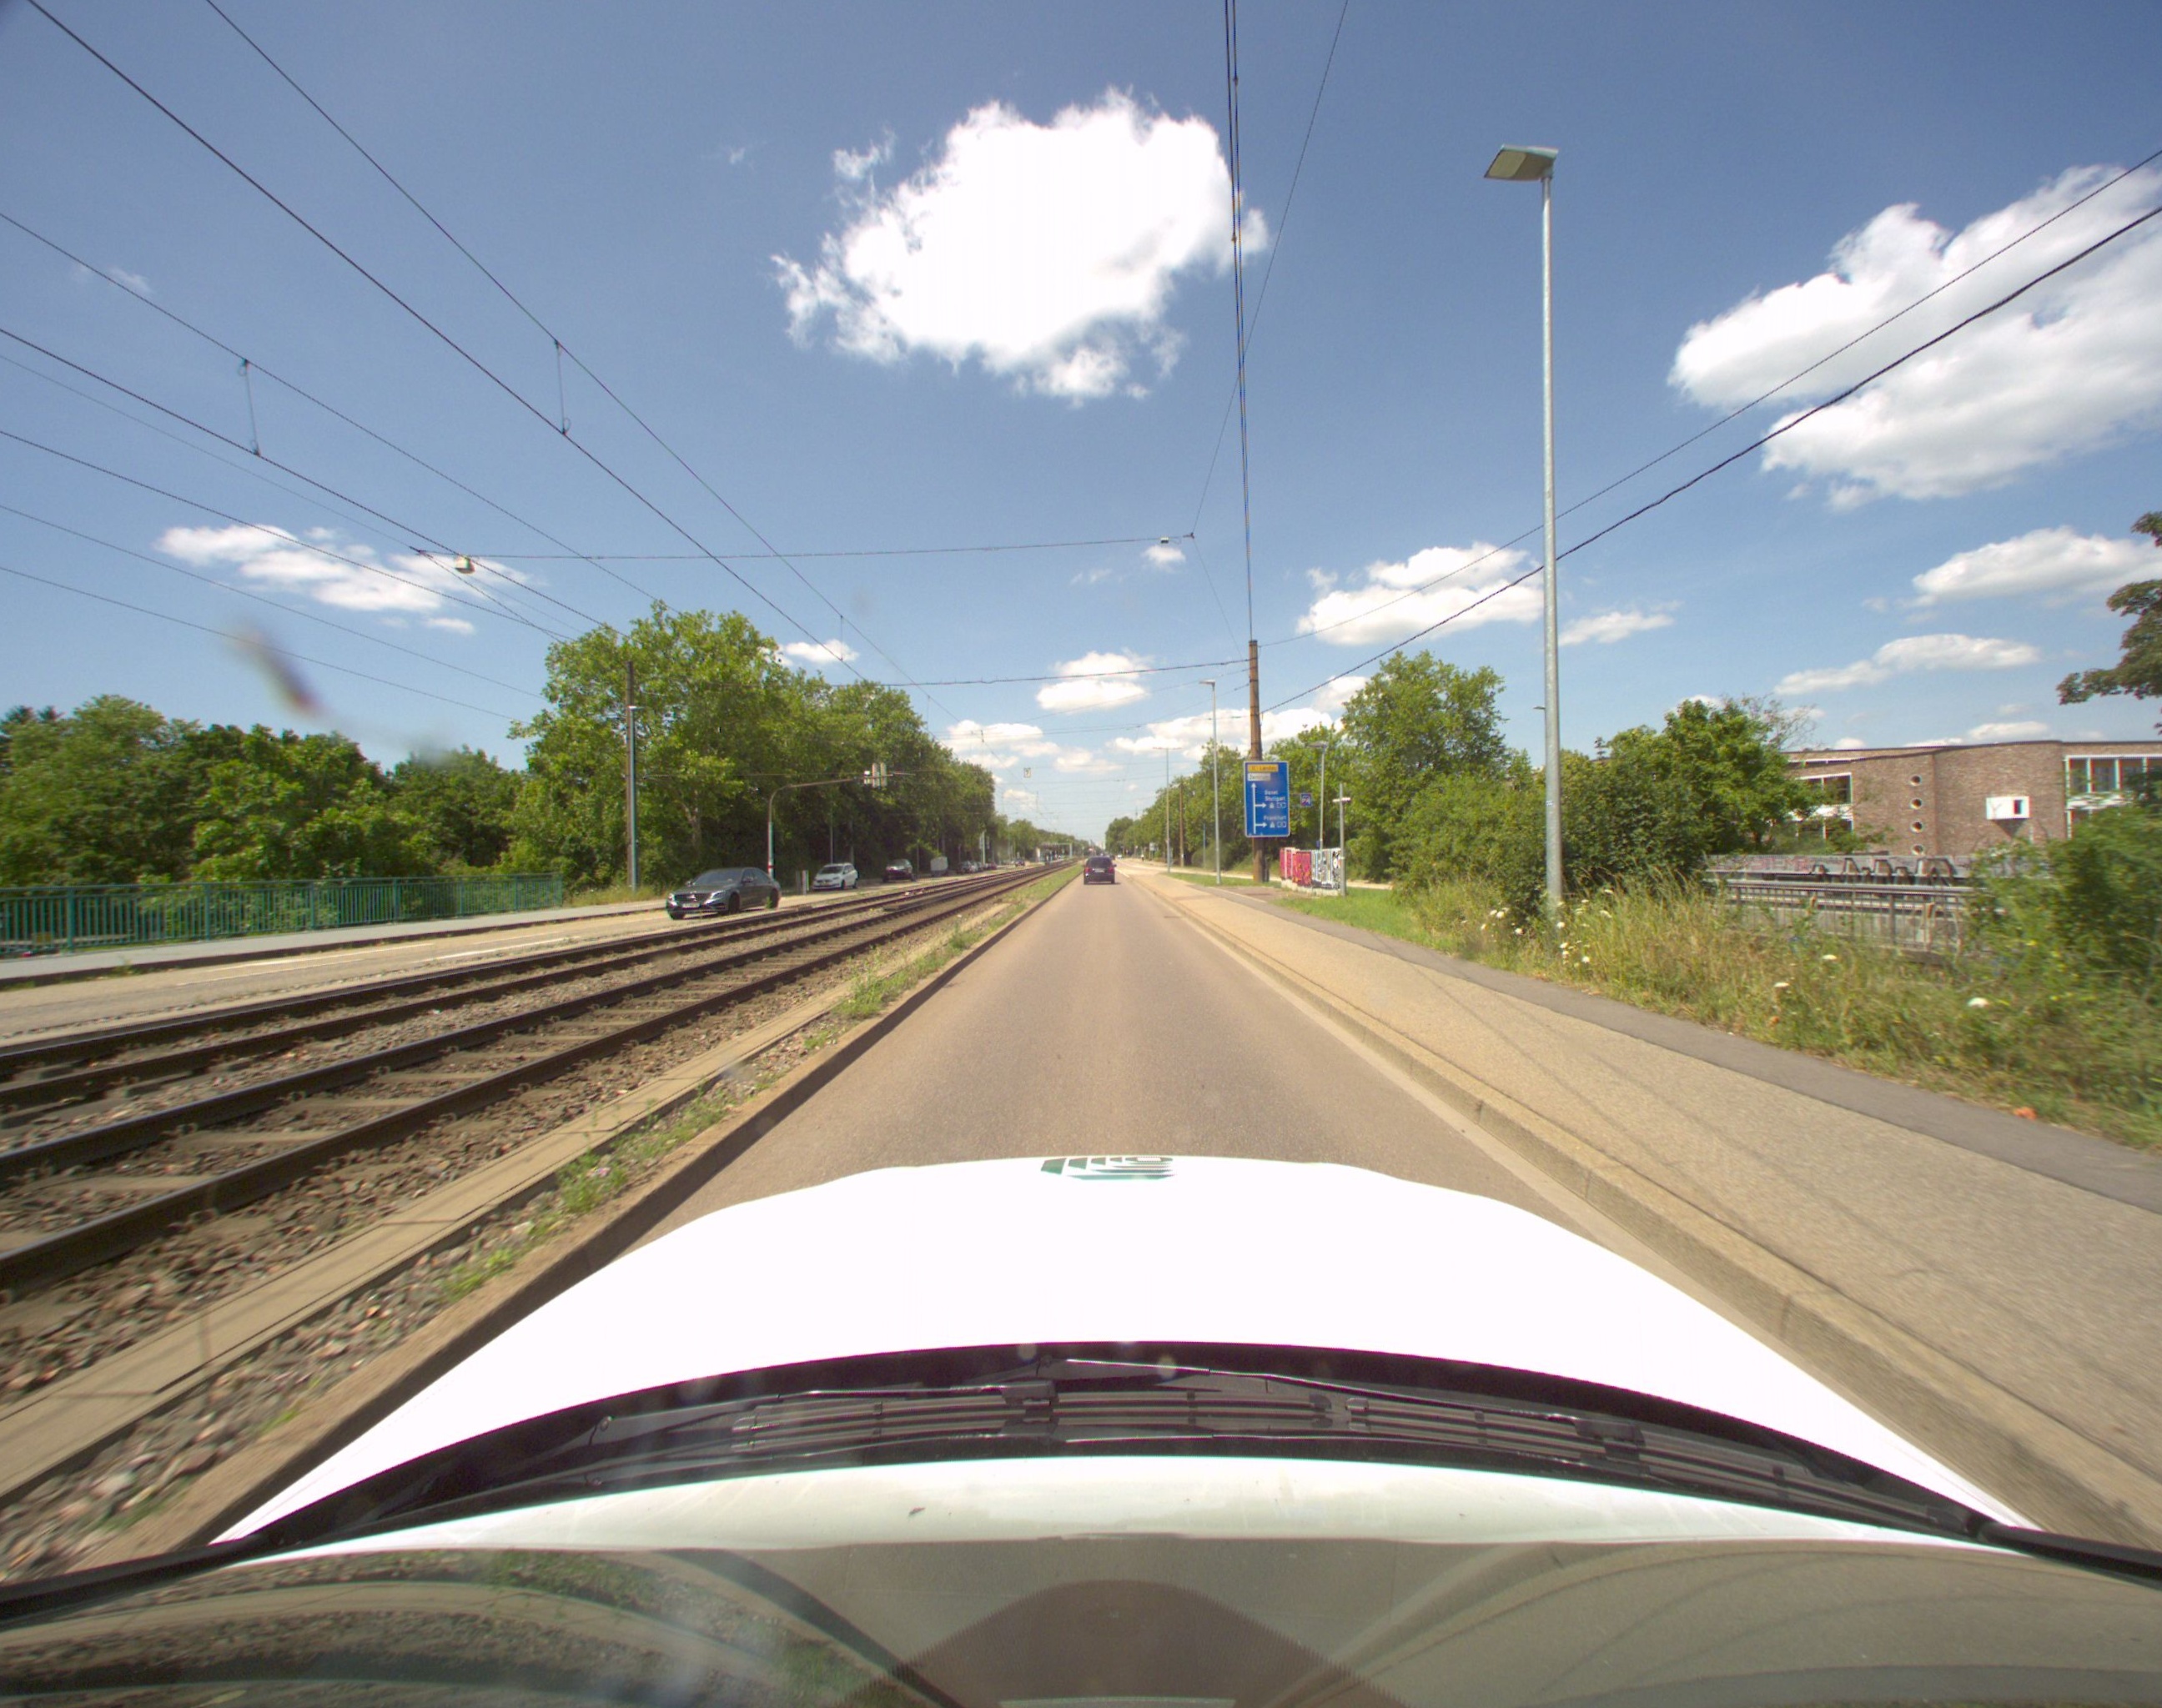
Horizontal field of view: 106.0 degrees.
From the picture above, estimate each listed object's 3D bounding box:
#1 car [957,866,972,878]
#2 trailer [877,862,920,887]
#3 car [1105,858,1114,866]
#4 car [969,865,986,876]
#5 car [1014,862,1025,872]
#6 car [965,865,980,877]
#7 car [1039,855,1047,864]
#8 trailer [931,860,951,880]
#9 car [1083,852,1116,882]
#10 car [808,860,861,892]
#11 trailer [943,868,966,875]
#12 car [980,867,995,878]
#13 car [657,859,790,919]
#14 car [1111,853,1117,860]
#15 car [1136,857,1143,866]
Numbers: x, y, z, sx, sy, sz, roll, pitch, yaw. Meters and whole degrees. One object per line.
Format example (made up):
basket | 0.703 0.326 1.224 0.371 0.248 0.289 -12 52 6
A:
car | -14.618 2.226 102.270 1.429 1.451 3.920 -1 -1 0
trailer | -14.770 1.627 66.181 2.456 1.889 5.955 -1 -1 -3
car | 6.370 1.821 181.215 1.877 1.640 4.002 2 1 2
car | -14.465 2.267 113.607 1.865 1.401 4.416 -1 -1 -1
car | -12.837 2.705 170.225 1.986 2.014 4.001 -2 -1 1
car | -14.368 2.255 107.980 1.429 1.451 3.739 -1 -1 -1
car | -8.924 1.193 190.689 1.580 2.013 4.109 0 1 0
trailer | -14.872 1.706 86.635 1.605 2.013 3.913 0 0 -2
car | 1.100 0.706 46.725 1.846 1.570 4.391 0 1 2
car | -15.205 1.318 50.511 1.714 1.630 4.616 -4 1 0
trailer | -14.621 2.087 94.461 1.986 0.742 4.000 -1 -2 1
car | -15.115 2.961 131.626 1.987 1.574 4.000 -1 -1 1
car | -11.343 1.054 26.360 1.869 1.720 5.330 -1 -1 1
car | 9.689 0.842 242.284 1.780 2.013 4.002 0 1 1
car | 13.666 1.691 190.371 1.607 2.013 3.440 0 1 1
